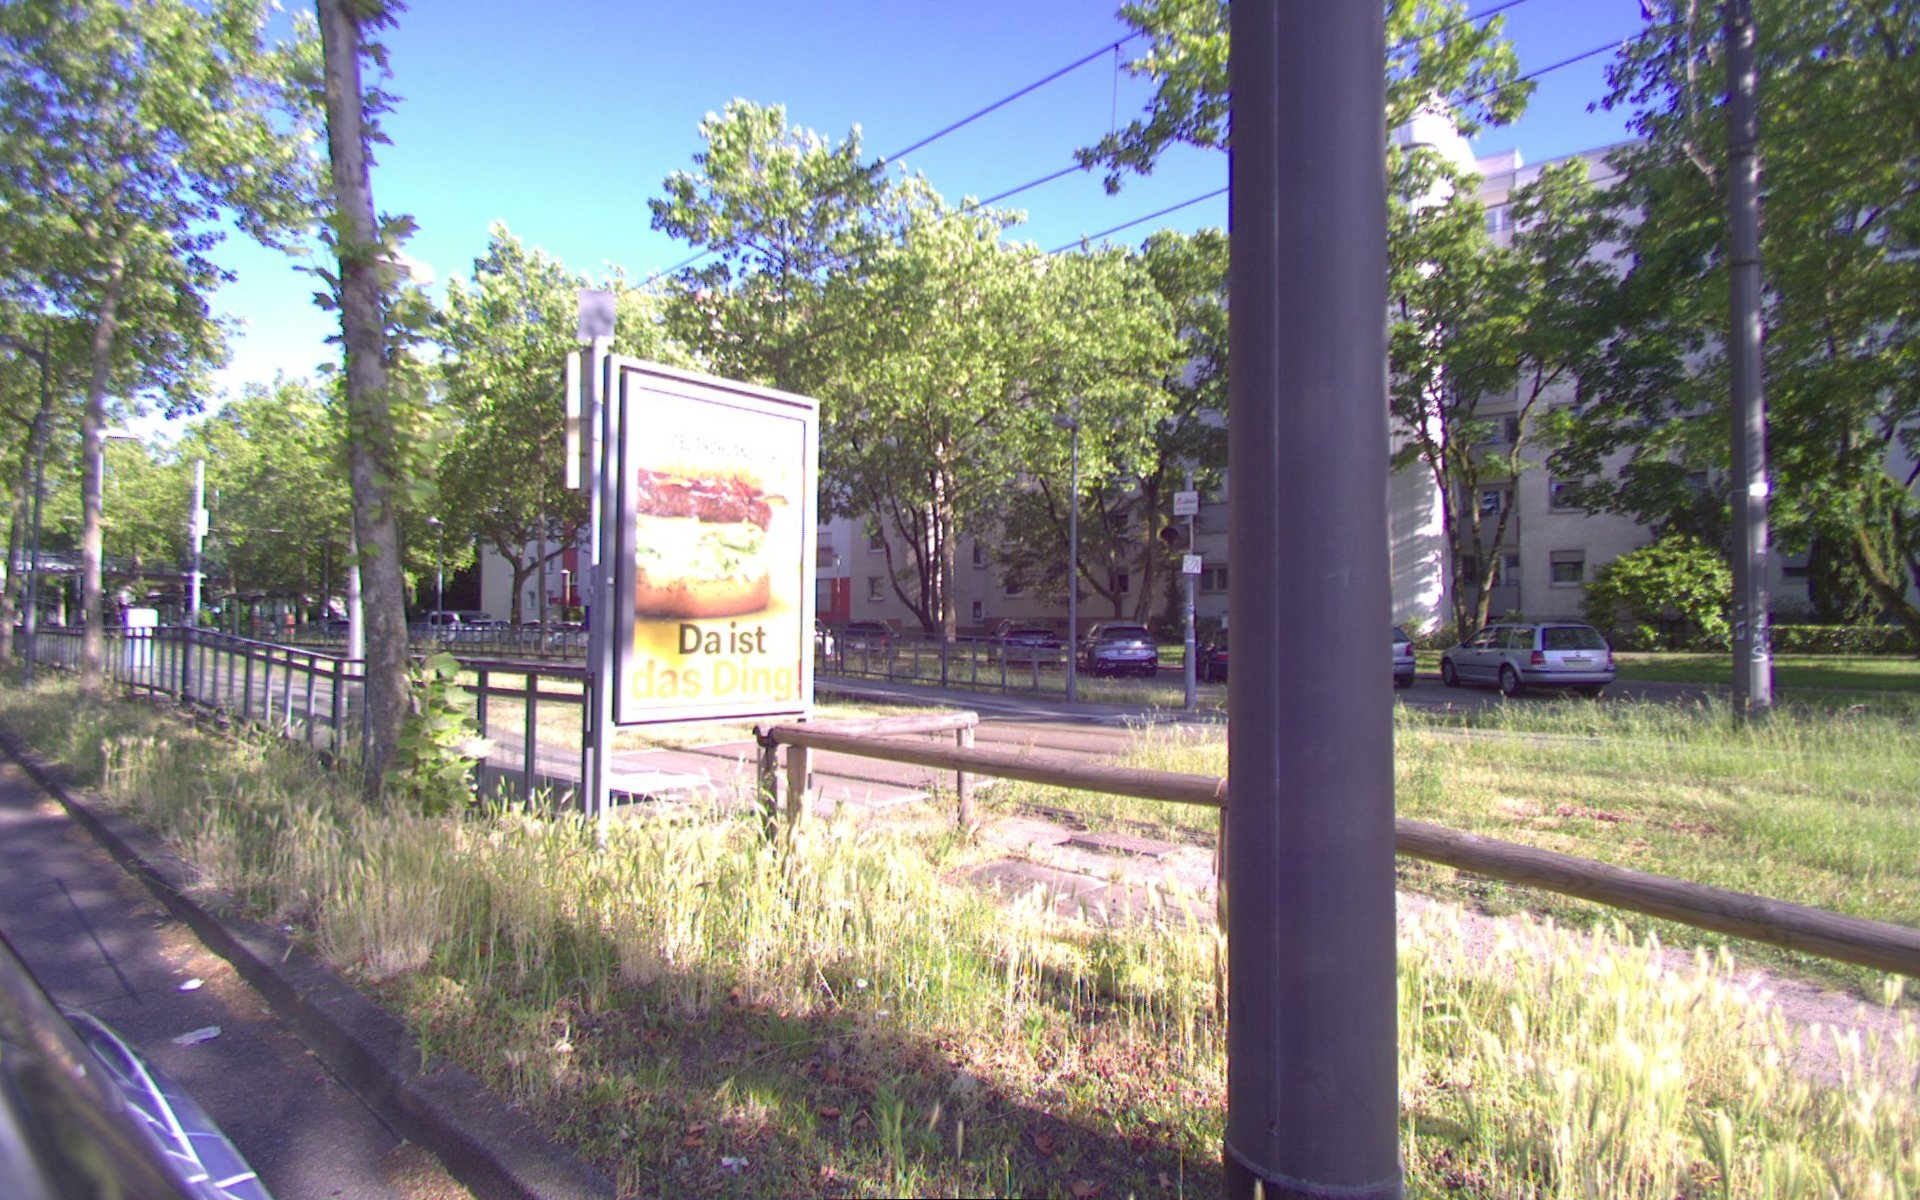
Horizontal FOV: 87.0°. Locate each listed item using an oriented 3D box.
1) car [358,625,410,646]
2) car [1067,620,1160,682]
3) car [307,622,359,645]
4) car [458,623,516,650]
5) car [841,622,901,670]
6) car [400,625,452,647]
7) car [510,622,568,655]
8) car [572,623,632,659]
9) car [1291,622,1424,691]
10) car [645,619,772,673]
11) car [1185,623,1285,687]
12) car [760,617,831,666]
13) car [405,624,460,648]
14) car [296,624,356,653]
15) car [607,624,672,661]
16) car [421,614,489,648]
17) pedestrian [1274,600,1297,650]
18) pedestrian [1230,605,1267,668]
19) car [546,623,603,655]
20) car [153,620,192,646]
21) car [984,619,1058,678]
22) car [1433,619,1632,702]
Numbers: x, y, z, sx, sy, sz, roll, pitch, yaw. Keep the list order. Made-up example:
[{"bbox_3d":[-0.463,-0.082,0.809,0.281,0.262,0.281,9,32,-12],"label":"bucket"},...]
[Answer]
[{"bbox_3d":[-37.454,2.297,65.885,1.459,1.330,3.488,0,-1,-1],"label":"car"},{"bbox_3d":[4.121,1.334,27.701,1.650,1.469,4.004,-1,0,-4],"label":"car"},{"bbox_3d":[-44.879,2.374,72.481,1.578,1.538,3.737,0,-1,-3],"label":"car"},{"bbox_3d":[-25.864,1.985,55.470,1.605,1.414,3.488,0,-1,-1],"label":"car"},{"bbox_3d":[-2.999,1.541,34.657,1.538,1.439,3.761,-1,0,3],"label":"car"},{"bbox_3d":[-33.031,2.214,62.690,1.459,1.311,3.488,0,-1,-1],"label":"car"},{"bbox_3d":[-21.148,1.910,50.976,1.539,1.436,3.489,-3,0,-2],"label":"car"},{"bbox_3d":[-16.620,1.874,47.095,1.445,1.519,3.393,-1,0,3],"label":"car"},{"bbox_3d":[9.126,1.246,23.525,1.553,1.431,3.620,-1,-1,-1],"label":"car"},{"bbox_3d":[-7.710,1.349,30.811,4.332,1.534,1.785,-1,-2,45],"label":"car"},{"bbox_3d":[6.773,1.313,25.315,1.572,1.360,3.922,-1,0,3],"label":"car"},{"bbox_3d":[-5.989,1.484,37.207,1.791,1.607,3.997,-1,0,3],"label":"car"},{"bbox_3d":[-30.932,2.089,59.453,1.459,1.354,3.488,0,-1,-1],"label":"car"},{"bbox_3d":[-35.534,2.122,56.690,4.100,1.523,1.746,-1,-2,41],"label":"car"},{"bbox_3d":[-14.023,1.838,44.473,1.470,1.425,3.880,-1,0,3],"label":"car"},{"bbox_3d":[-28.440,1.745,57.171,1.843,1.826,4.047,0,-1,0],"label":"car"},{"bbox_3d":[11.754,0.902,36.506,0.634,1.770,0.516,-1,-2,39],"label":"pedestrian"},{"bbox_3d":[8.272,1.037,29.034,0.755,1.770,0.752,-1,-2,41],"label":"pedestrian"},{"bbox_3d":[-18.803,1.885,49.463,1.459,1.339,3.488,-2,0,-1],"label":"car"},{"bbox_3d":[-63.951,2.656,82.154,4.652,2.007,1.772,-1,-2,43],"label":"car"},{"bbox_3d":[1.727,1.373,29.771,1.669,1.499,4.003,-1,0,-4],"label":"car"},{"bbox_3d":[11.545,1.159,20.750,1.685,1.454,3.978,-1,0,-2],"label":"car"}]
